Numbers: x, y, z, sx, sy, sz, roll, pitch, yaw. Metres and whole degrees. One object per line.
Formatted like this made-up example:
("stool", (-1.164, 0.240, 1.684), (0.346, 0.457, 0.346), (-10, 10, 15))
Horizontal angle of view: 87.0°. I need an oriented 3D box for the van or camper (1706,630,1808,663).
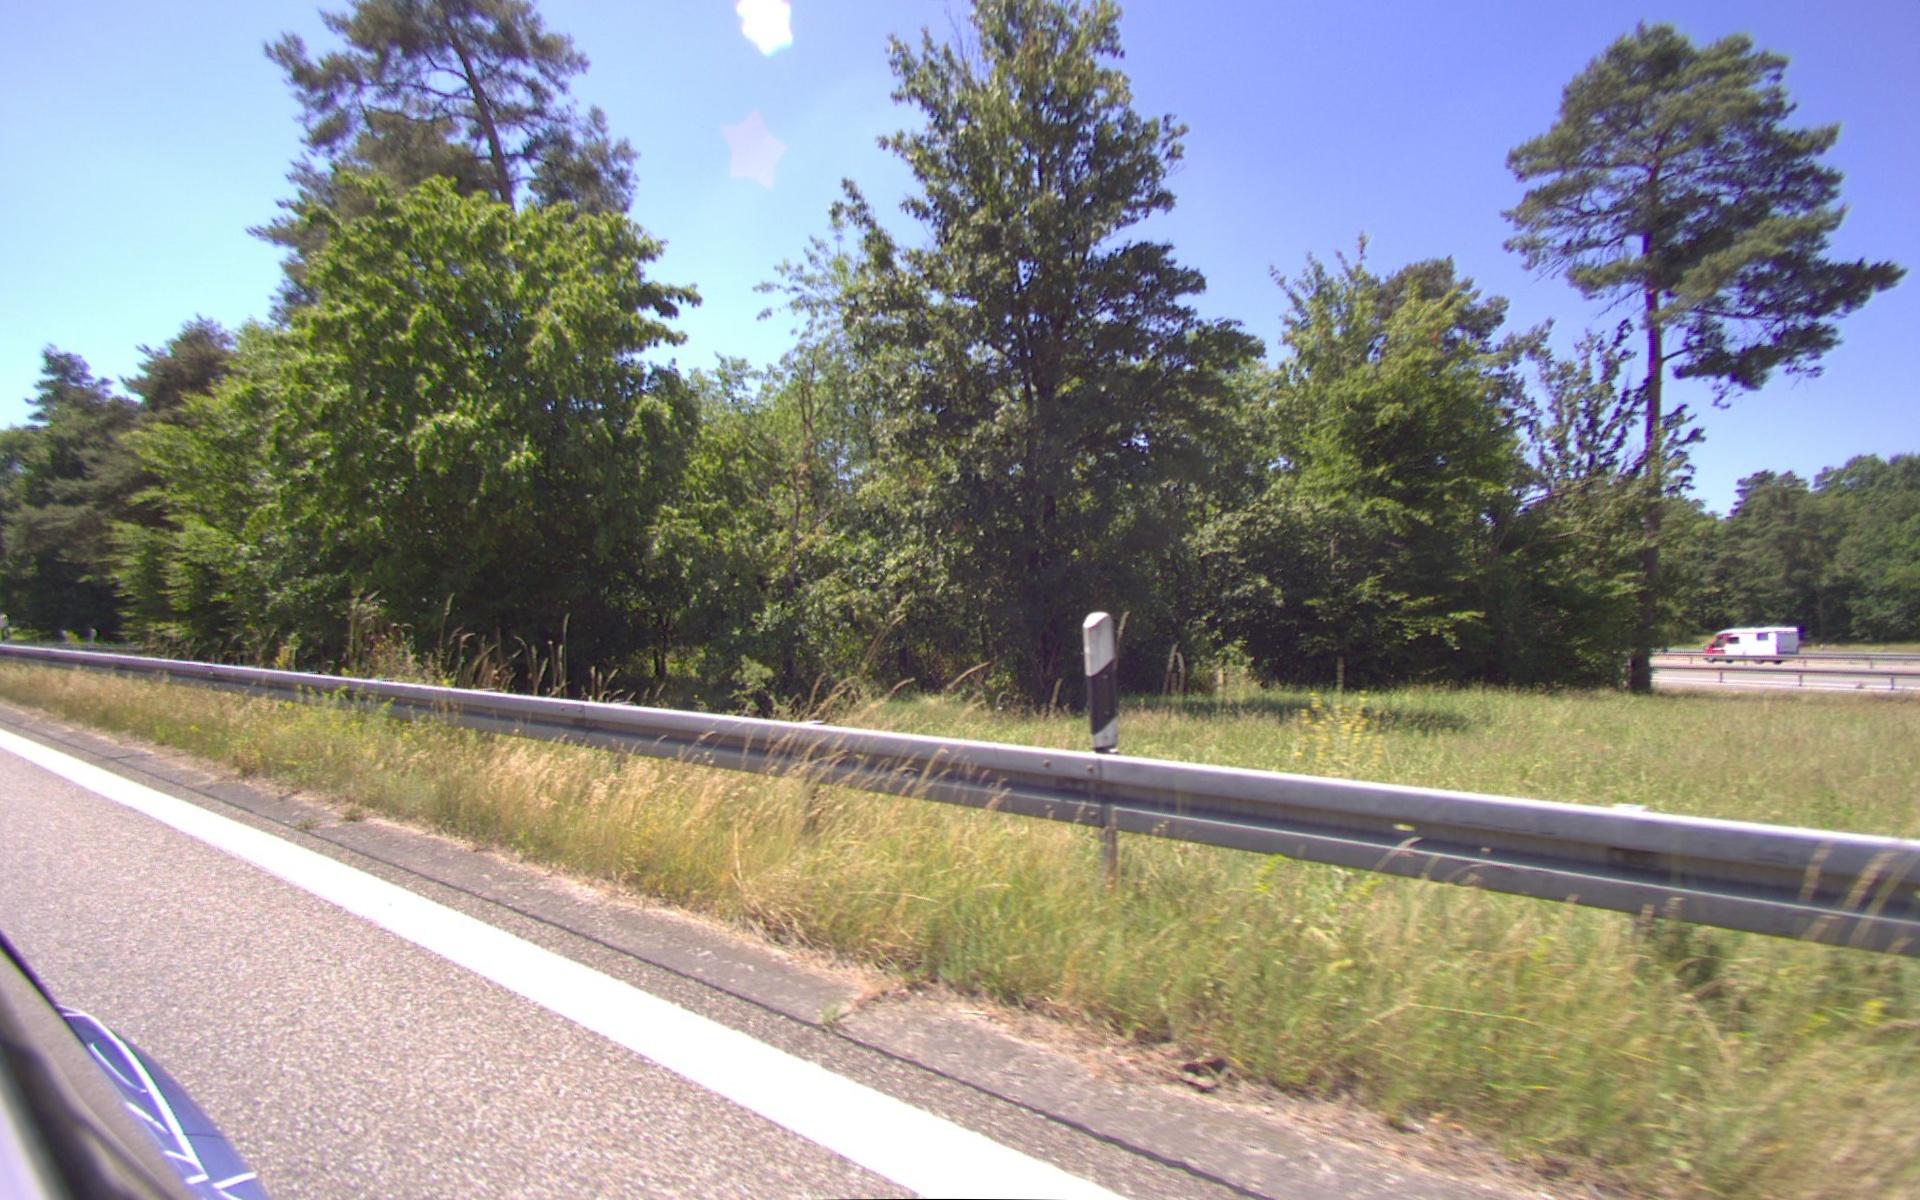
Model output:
("van or camper", (60.524, 3.530, 76.987), (2.211, 2.394, 5.844), (1, -2, -17))
